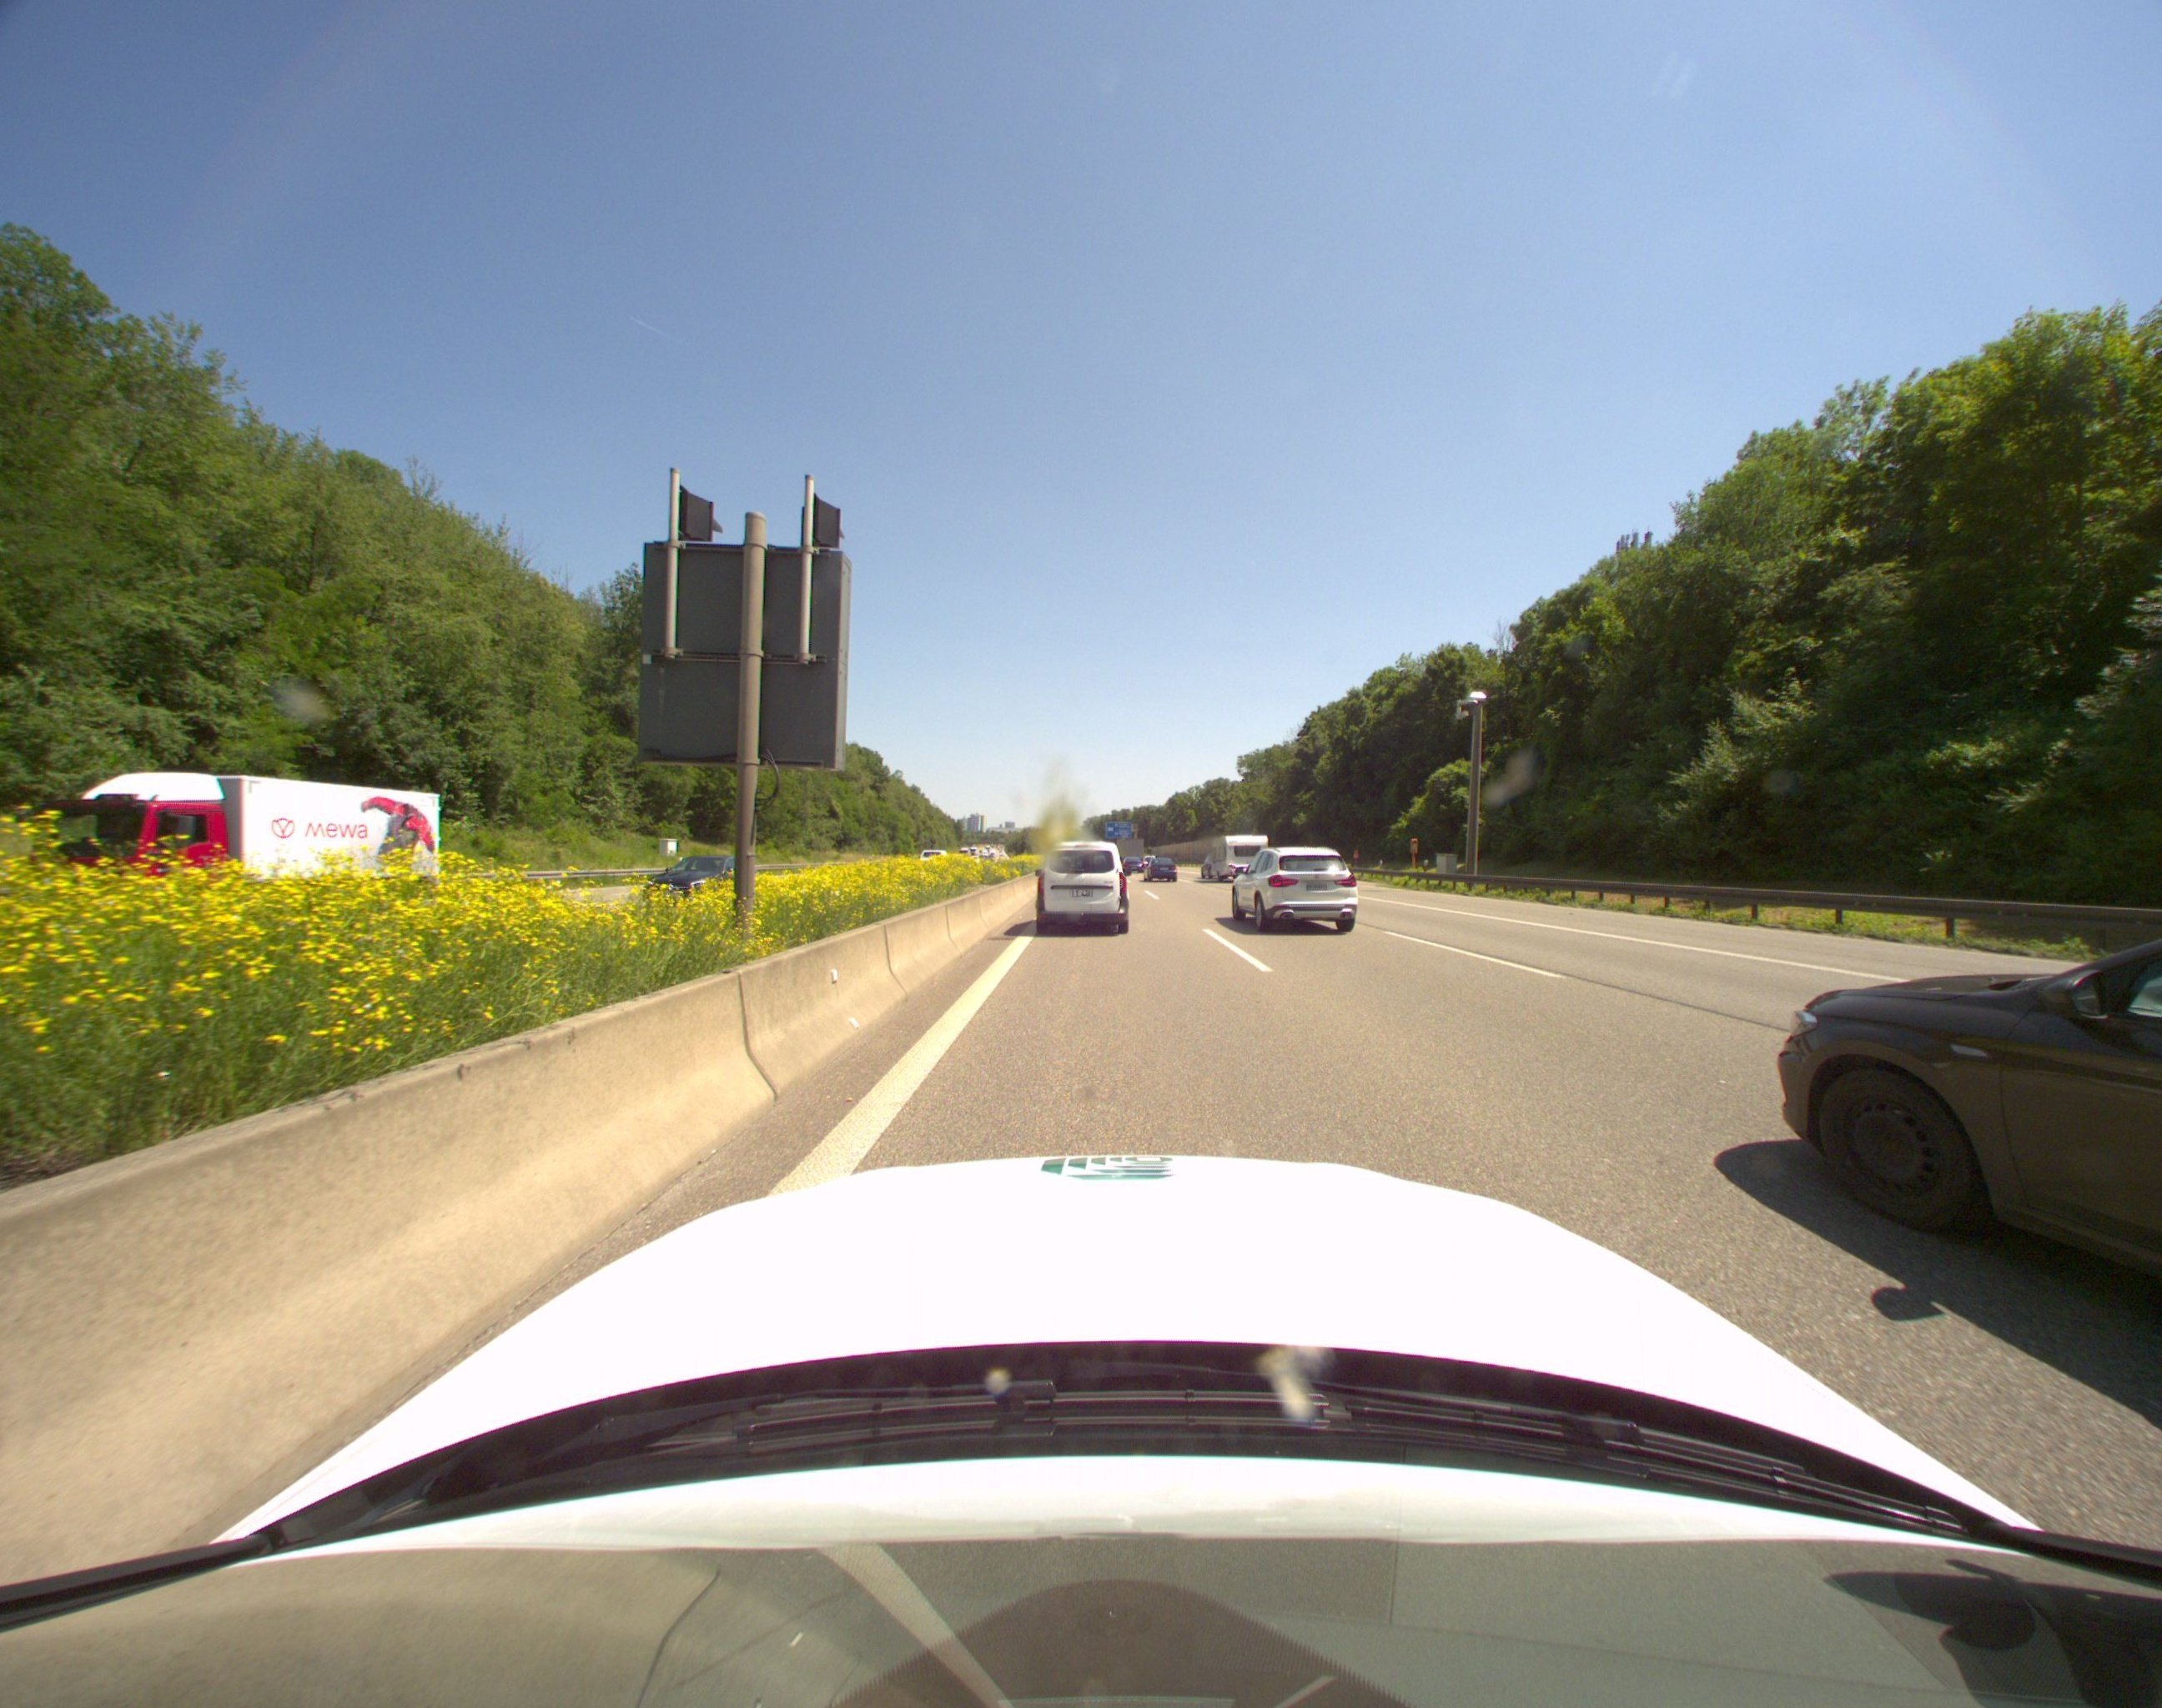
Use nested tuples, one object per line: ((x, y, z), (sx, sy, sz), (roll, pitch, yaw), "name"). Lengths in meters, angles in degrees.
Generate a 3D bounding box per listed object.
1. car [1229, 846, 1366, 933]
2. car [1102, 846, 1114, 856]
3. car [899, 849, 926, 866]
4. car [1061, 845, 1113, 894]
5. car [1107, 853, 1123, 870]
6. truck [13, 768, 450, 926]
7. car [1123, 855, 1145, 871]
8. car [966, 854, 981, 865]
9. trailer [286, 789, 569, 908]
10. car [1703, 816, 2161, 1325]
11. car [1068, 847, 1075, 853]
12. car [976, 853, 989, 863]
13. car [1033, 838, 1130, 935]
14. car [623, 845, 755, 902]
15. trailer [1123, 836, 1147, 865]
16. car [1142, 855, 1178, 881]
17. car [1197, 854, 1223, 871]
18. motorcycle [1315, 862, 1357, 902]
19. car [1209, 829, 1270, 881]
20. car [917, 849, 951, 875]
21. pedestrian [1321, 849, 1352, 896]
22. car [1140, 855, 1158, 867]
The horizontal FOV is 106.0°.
((4.412, 0.678, 17.203), (1.865, 1.608, 3.878), (0, 0, 0), "car")
((5.515, -0.678, 166.829), (1.989, 2.013, 3.995), (0, 0, -3), "car")
((-17.711, 0.393, 85.765), (1.988, 1.755, 3.998), (0, 0, -1), "car")
((0.290, 0.575, 32.793), (1.986, 1.860, 4.002), (0, 0, 2), "car")
((3.982, 0.854, 96.393), (1.817, 1.989, 4.002), (0, 0, 2), "car")
((-18.985, -0.132, 19.163), (2.398, 3.005, 7.459), (0, 0, 1), "truck")
((4.633, 0.769, 71.774), (1.817, 1.424, 4.002), (0, 0, 2), "car")
((-16.253, 0.875, 122.750), (1.791, 1.614, 3.998), (0, 0, -1), "car")
((-18.925, -0.134, 24.409), (2.398, 3.005, 7.459), (0, 0, 1), "trailer")
((4.134, 0.653, 2.026), (1.832, 1.513, 4.401), (0, 1, 0), "car")
((-2.994, -1.307, 260.302), (1.986, 2.013, 4.002), (0, 0, 2), "car")
((-16.548, 0.655, 137.402), (1.791, 1.717, 3.998), (0, 0, -1), "car")
((0.047, 0.610, 17.186), (1.796, 1.808, 4.001), (0, 0, 1), "car")
((-11.174, 0.514, 23.514), (1.836, 1.519, 3.870), (0, 0, 2), "car")
((7.774, -0.503, 117.440), (3.070, 3.985, 10.327), (0, 0, 2), "trailer")
((4.566, 0.765, 47.318), (1.817, 1.424, 4.002), (0, 0, 2), "car")
((11.352, 0.730, 71.833), (1.817, 1.424, 4.002), (0, 0, 2), "car")
((8.223, 0.879, 26.332), (0.855, 1.181, 2.280), (0, 1, 6), "motorcycle")
((9.015, 0.053, 46.963), (2.469, 2.766, 6.222), (0, 0, 2), "car")
((-11.877, 0.637, 65.925), (1.987, 2.013, 3.999), (0, 0, 0), "car")
((8.208, 0.575, 26.190), (0.847, 1.478, 0.639), (0, 0, 6), "pedestrian")
((7.948, 0.829, 95.583), (1.817, 1.424, 4.002), (0, 0, 2), "car")
